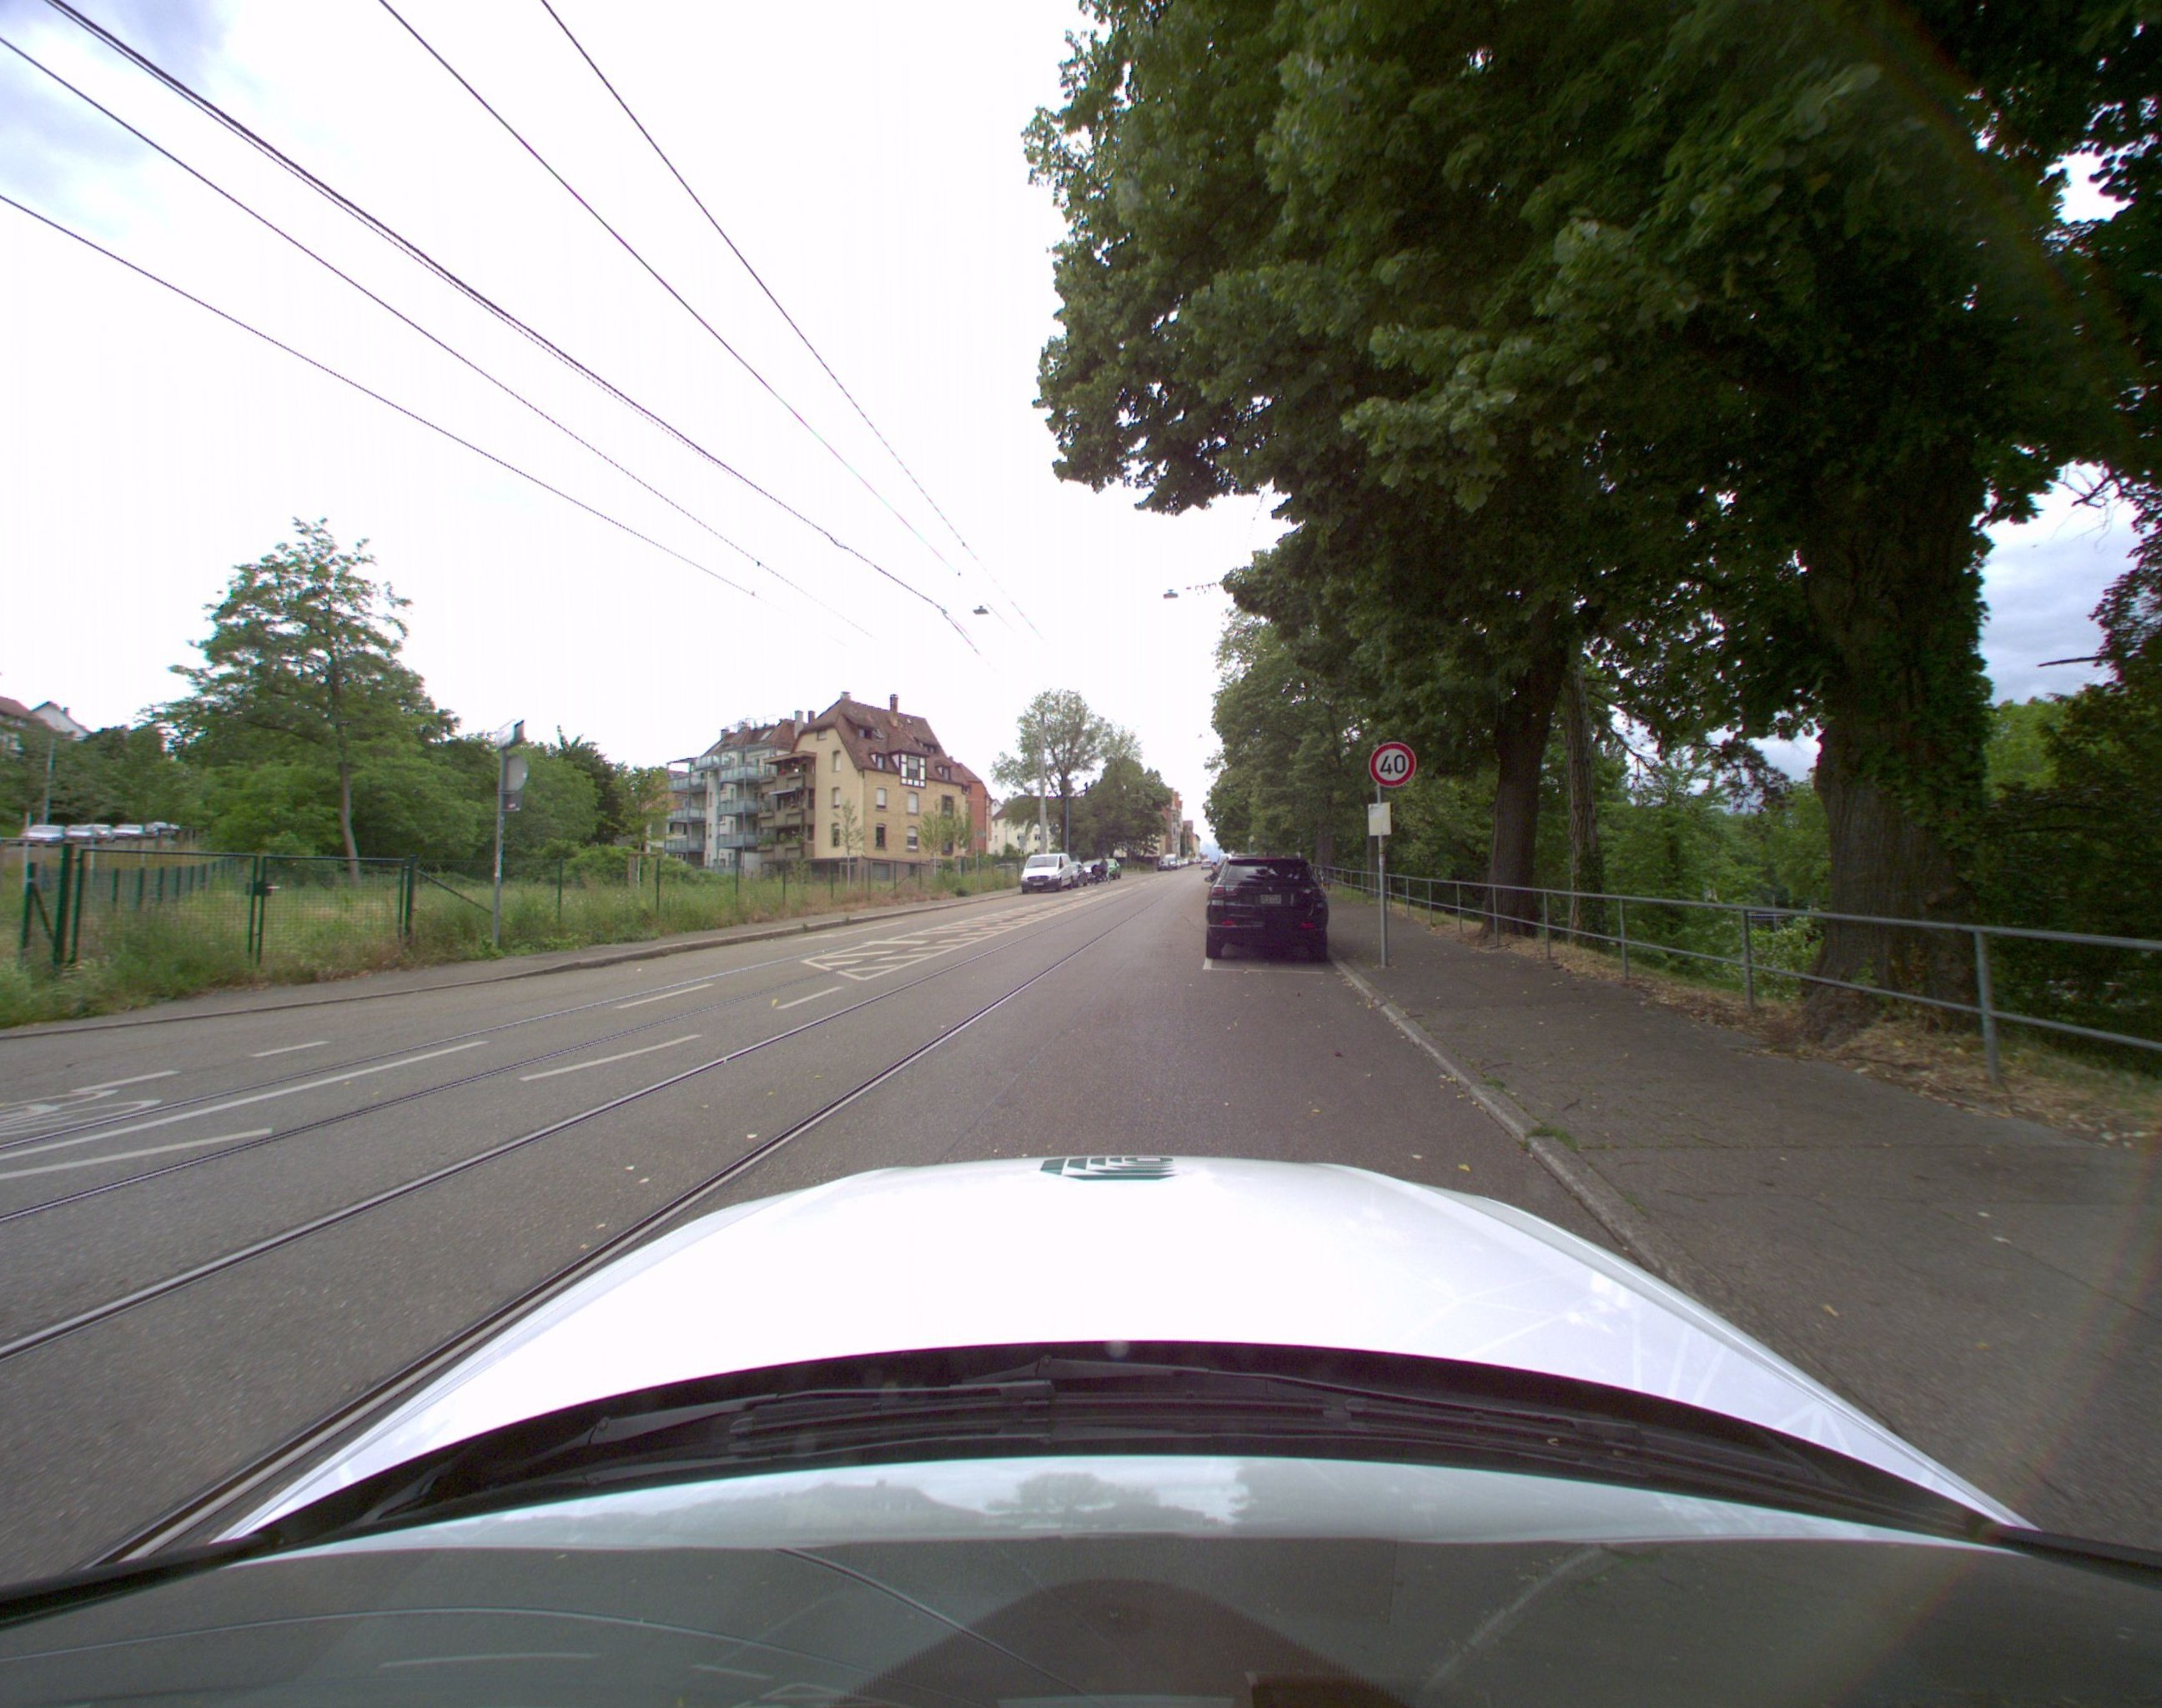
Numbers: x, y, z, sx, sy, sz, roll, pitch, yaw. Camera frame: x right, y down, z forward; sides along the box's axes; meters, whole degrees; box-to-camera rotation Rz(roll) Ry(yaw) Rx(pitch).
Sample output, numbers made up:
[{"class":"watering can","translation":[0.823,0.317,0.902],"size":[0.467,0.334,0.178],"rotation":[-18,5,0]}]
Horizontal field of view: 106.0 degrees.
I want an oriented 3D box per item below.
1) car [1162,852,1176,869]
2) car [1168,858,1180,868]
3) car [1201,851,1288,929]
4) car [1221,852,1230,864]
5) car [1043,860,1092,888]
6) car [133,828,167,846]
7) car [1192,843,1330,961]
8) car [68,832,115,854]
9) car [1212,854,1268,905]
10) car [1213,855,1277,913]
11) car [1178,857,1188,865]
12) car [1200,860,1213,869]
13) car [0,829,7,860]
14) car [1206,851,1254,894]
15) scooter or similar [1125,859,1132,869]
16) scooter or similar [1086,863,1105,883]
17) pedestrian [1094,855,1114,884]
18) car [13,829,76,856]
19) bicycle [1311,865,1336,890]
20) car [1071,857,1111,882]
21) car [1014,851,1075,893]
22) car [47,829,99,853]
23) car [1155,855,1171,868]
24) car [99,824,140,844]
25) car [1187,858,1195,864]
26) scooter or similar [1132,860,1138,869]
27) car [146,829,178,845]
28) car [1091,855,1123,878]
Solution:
[{"class":"car","translation":[14.526,1.087,134.281],"size":[2.218,2.764,5.812],"rotation":[0,-1,8]},{"class":"car","translation":[16.471,1.616,144.436],"size":[1.982,1.600,4.321],"rotation":[0,-1,8]},{"class":"car","translation":[3.702,0.757,18.762],"size":[1.723,1.575,4.376],"rotation":[0,-1,10]},{"class":"car","translation":[32.891,0.959,185.405],"size":[1.981,2.574,4.718],"rotation":[-1,-1,10]},{"class":"car","translation":[-0.701,1.087,46.324],"size":[1.885,1.433,4.523],"rotation":[-2,0,10]},{"class":"car","translation":[-97.758,-1.760,85.582],"size":[1.847,1.658,4.082],"rotation":[1,-2,-42]},{"class":"car","translation":[2.967,0.673,13.717],"size":[1.892,1.615,4.614],"rotation":[0,0,11]},{"class":"car","translation":[-81.349,-0.889,66.995],"size":[1.847,1.658,4.082],"rotation":[1,-2,-42]},{"class":"car","translation":[5.605,0.847,29.064],"size":[1.716,1.631,4.098],"rotation":[3,0,8]},{"class":"car","translation":[4.790,0.833,24.230],"size":[1.620,1.516,4.073],"rotation":[2,0,8]},{"class":"car","translation":[22.169,1.589,177.565],"size":[1.912,1.601,4.011],"rotation":[0,-1,10]},{"class":"car","translation":[19.846,1.666,129.077],"size":[1.981,1.498,4.323],"rotation":[0,-1,10]},{"class":"car","translation":[-58.161,-0.561,42.406],"size":[1.847,1.658,4.083],"rotation":[1,-2,-41]},{"class":"car","translation":[6.405,0.757,35.058],"size":[1.865,1.677,5.077],"rotation":[1,0,10]},{"class":"scooter or similar","translation":[6.742,1.401,115.939],"size":[0.686,1.339,1.644],"rotation":[0,-1,11]},{"class":"scooter or similar","translation":[0.863,1.133,48.354],"size":[0.811,1.196,0.829],"rotation":[1,-2,-38]},{"class":"pedestrian","translation":[1.346,0.907,47.642],"size":[0.811,1.629,0.906],"rotation":[1,-2,-38]},{"class":"car","translation":[-69.351,-0.709,54.557],"size":[1.847,1.658,4.083],"rotation":[1,-2,-41]},{"class":"bicycle","translation":[9.466,0.912,31.803],"size":[0.425,0.976,1.794],"rotation":[0,-1,0]},{"class":"car","translation":[0.724,1.016,54.488],"size":[1.873,1.526,4.676],"rotation":[-2,-1,10]},{"class":"car","translation":[-1.713,0.889,40.603],"size":[2.024,1.881,4.896],"rotation":[-4,-2,8]},{"class":"car","translation":[-77.421,-0.987,62.588],"size":[1.847,1.658,4.082],"rotation":[1,-2,-42]},{"class":"car","translation":[12.103,1.153,119.986],"size":[1.981,1.808,4.012],"rotation":[0,-1,11]},{"class":"car","translation":[-89.145,-1.813,75.552],"size":[1.847,1.658,4.082],"rotation":[1,-2,-42]},{"class":"car","translation":[29.354,1.783,216.550],"size":[1.981,1.601,4.010],"rotation":[0,-1,10]},{"class":"scooter or similar","translation":[7.666,1.476,115.719],"size":[0.686,1.339,1.644],"rotation":[0,-1,11]},{"class":"car","translation":[-101.101,-1.841,89.610],"size":[1.847,1.658,4.082],"rotation":[1,-2,-42]},{"class":"car","translation":[1.931,0.928,60.065],"size":[1.712,1.580,4.192],"rotation":[-2,-1,10]}]
